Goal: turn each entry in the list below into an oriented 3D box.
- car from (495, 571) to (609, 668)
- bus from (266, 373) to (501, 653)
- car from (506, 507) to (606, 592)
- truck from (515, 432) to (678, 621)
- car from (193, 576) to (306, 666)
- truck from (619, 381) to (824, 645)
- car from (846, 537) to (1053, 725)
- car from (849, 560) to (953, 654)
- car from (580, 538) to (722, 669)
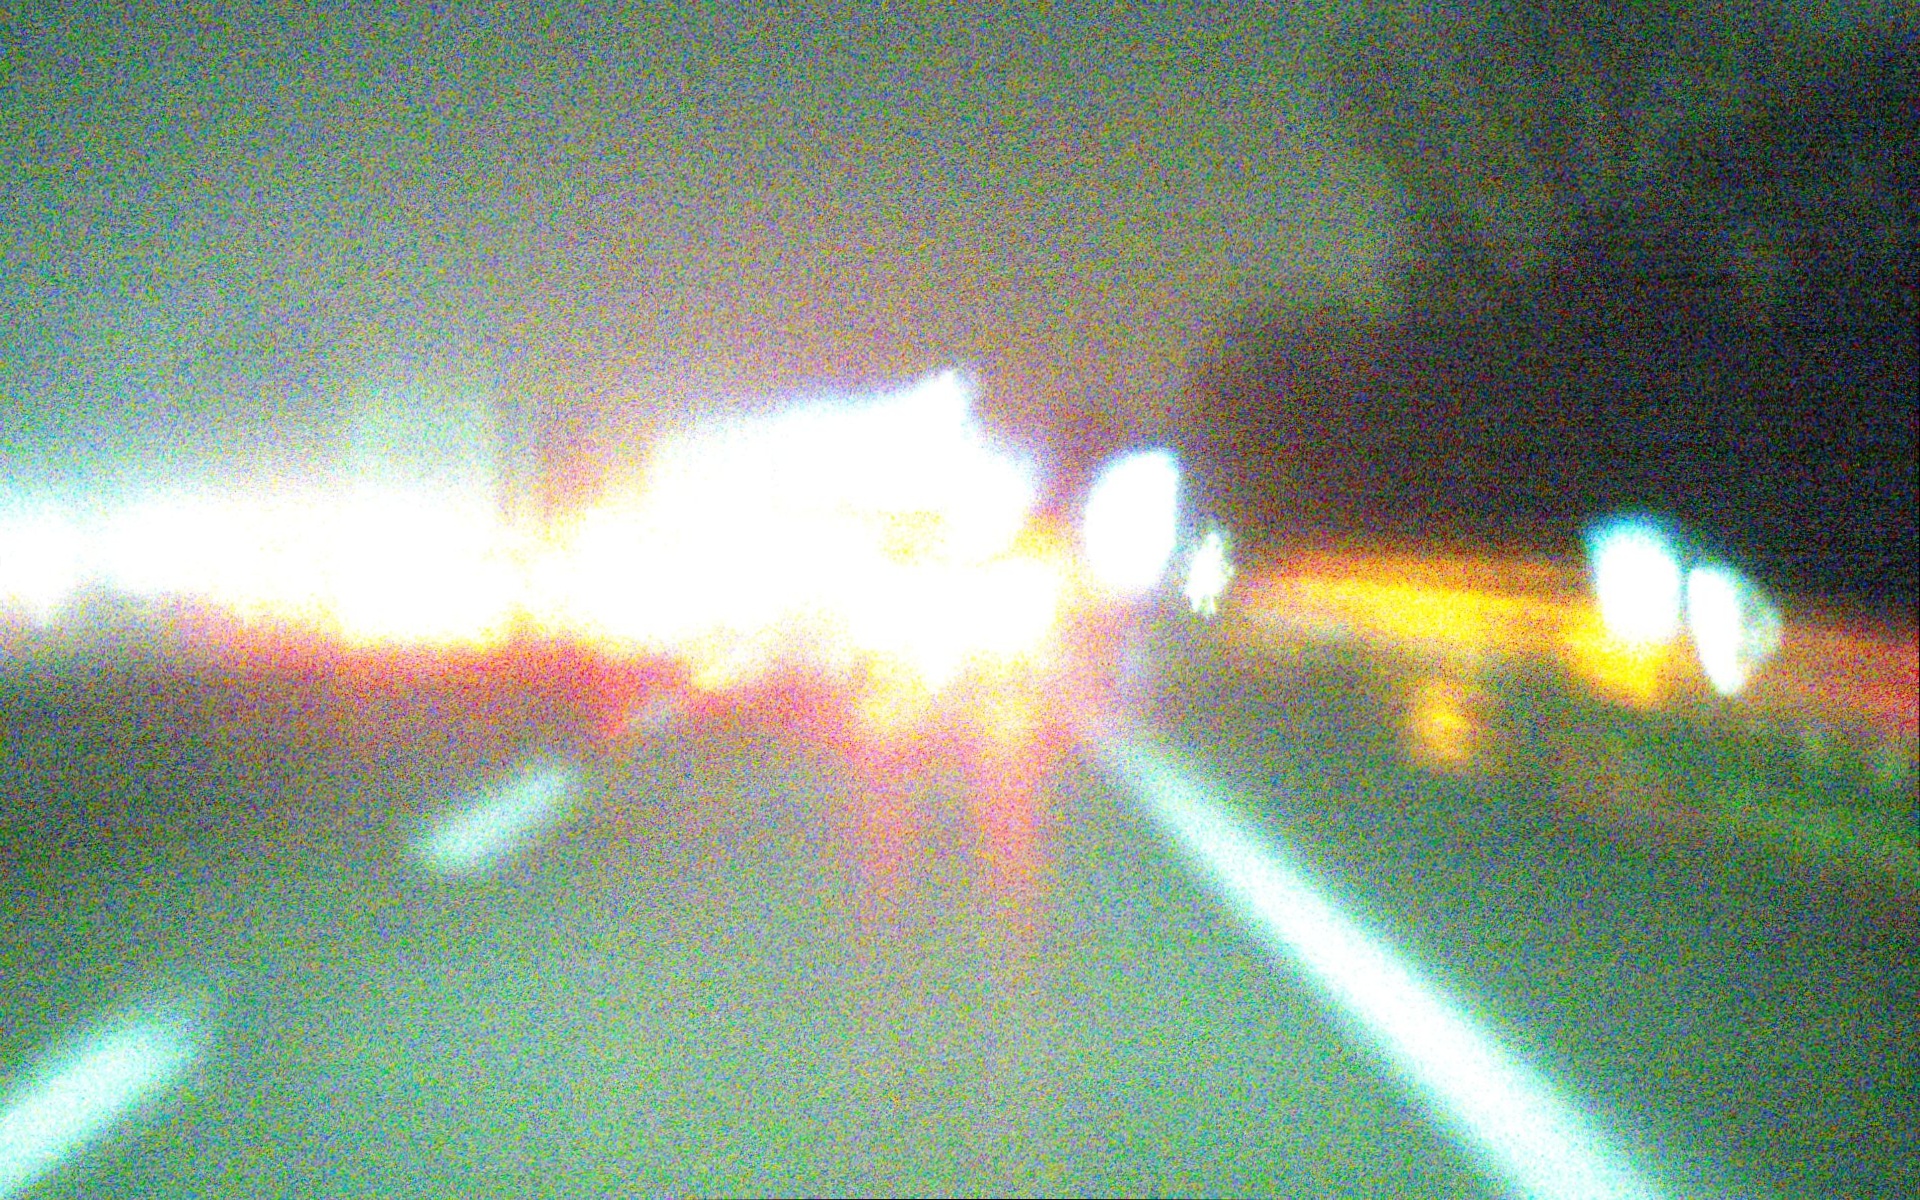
[{"bbox_3d":[-7.933,0.347,67.073,1.993,1.801,4.001,1,0,-4],"label":"car"},{"bbox_3d":[-10.091,-1.465,61.272,3.096,4.492,10.915,1,0,-4],"label":"bus"},{"bbox_3d":[-8.923,-1.111,76.227,1.993,1.801,4.001,1,0,-4],"label":"car"},{"bbox_3d":[-11.419,-2.277,109.317,4.210,5.629,11.468,1,0,-2],"label":"truck"},{"bbox_3d":[-13.710,0.382,66.497,1.694,1.645,3.841,1,0,-5],"label":"car"},{"bbox_3d":[-5.374,-1.931,80.012,4.210,5.629,11.468,1,0,-2],"label":"truck"},{"bbox_3d":[-0.135,0.283,35.569,1.993,1.801,4.000,1,0,-1],"label":"car"},{"bbox_3d":[-1.353,0.133,76.915,2.125,2.007,4.646,1,0,-3],"label":"car"},{"bbox_3d":[-4.969,0.033,55.891,2.125,2.007,4.646,1,0,-3],"label":"car"}]
